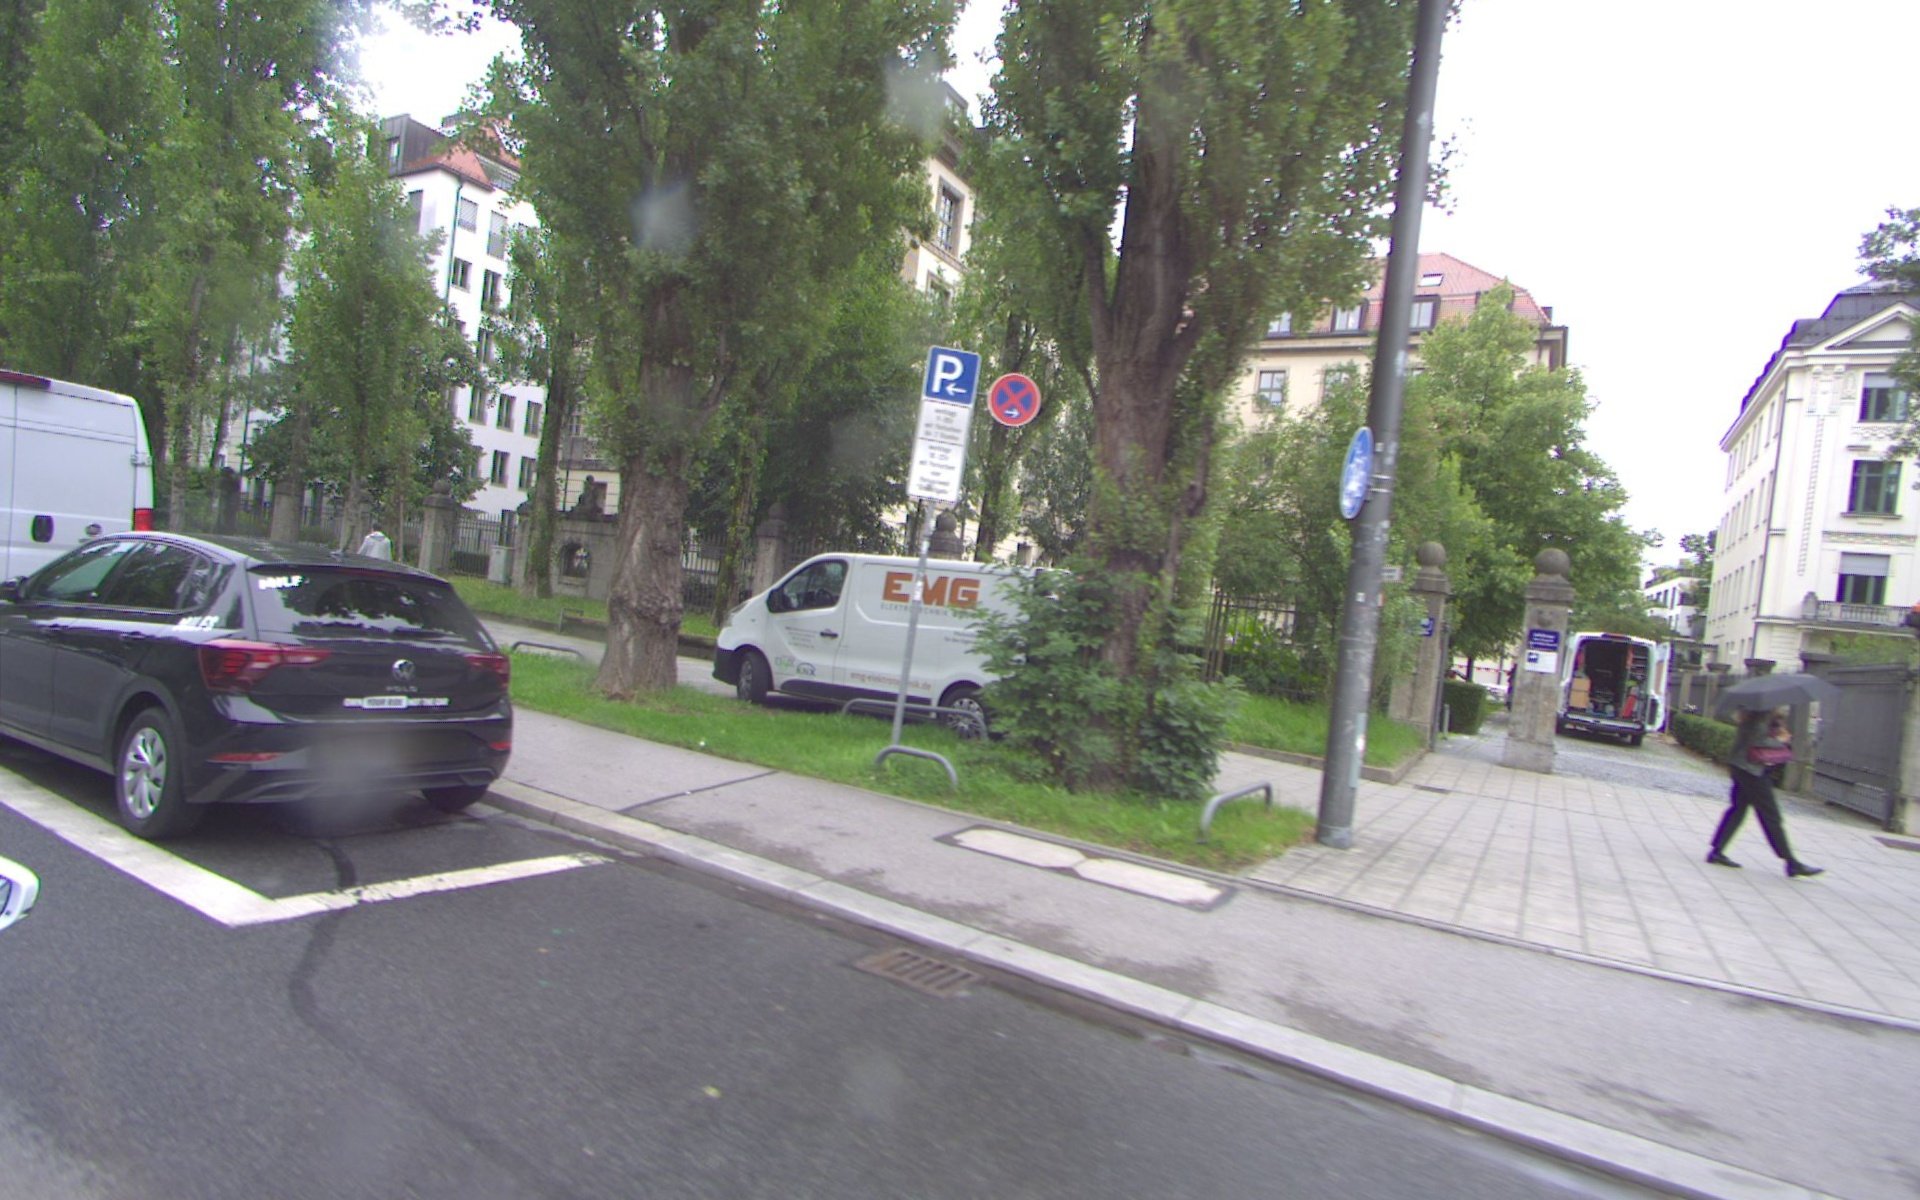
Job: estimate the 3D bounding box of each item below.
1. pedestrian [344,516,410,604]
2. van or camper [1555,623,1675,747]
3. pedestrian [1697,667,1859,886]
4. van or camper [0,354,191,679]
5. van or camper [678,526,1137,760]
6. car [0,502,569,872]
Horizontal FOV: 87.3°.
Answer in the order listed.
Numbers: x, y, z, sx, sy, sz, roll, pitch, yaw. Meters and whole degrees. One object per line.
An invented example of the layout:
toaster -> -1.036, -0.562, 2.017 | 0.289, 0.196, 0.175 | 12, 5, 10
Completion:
pedestrian -> -12.789, -0.866, 22.066 | 0.880, 1.790, 0.796 | 7, 1, 31
van or camper -> 17.370, 2.219, 26.918 | 2.212, 2.740, 5.215 | 7, 0, 31
pedestrian -> 6.846, 1.437, 8.475 | 0.827, 1.629, 0.772 | 7, 1, 34
van or camper -> -10.249, -0.945, 9.786 | 6.311, 2.572, 2.141 | 7, 0, 32
van or camper -> -0.721, 0.403, 11.811 | 4.954, 1.957, 1.978 | 7, -1, 31
car -> -4.398, 0.304, 5.983 | 3.932, 1.437, 1.679 | 7, 0, 30
